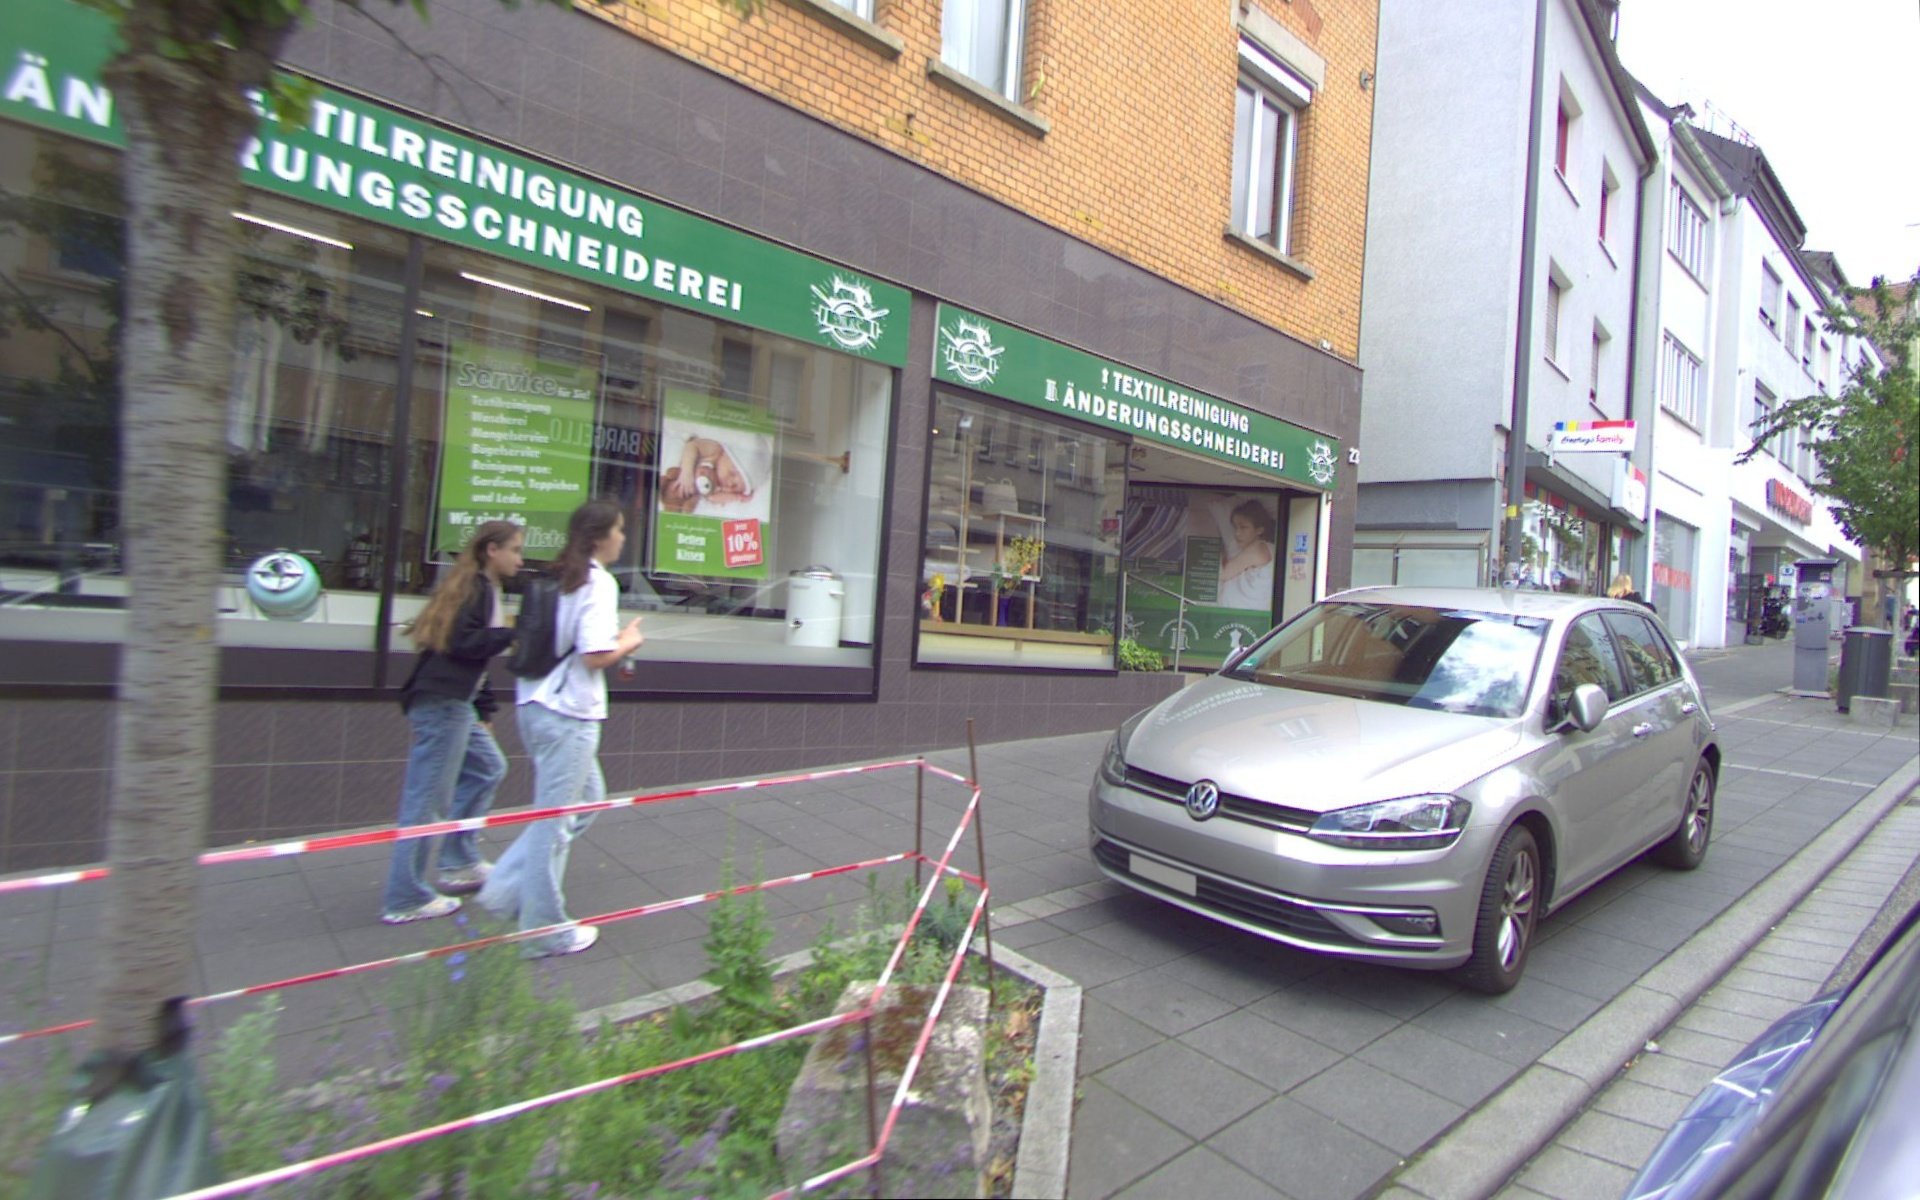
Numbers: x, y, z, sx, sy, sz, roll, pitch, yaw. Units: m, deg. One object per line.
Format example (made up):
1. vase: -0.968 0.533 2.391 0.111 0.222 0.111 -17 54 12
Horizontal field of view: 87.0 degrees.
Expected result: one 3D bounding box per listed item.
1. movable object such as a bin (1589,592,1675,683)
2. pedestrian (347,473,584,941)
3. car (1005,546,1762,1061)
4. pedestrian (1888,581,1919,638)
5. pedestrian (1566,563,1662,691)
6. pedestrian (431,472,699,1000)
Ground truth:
1. movable object such as a bin: 9.345 0.505 14.071 0.891 1.172 0.723 0 3 -41
2. pedestrian: -1.976 0.361 4.030 0.658 1.652 0.673 1 3 -42
3. car: 2.303 0.573 4.967 4.002 1.483 1.753 0 4 -40
4. pedestrian: 27.102 0.264 28.929 0.804 1.580 0.757 1 1 -43
5. pedestrian: 8.715 0.337 13.481 0.983 1.604 0.737 0 4 -41
6. pedestrian: -1.422 0.407 3.620 0.658 1.652 0.673 1 3 -42
